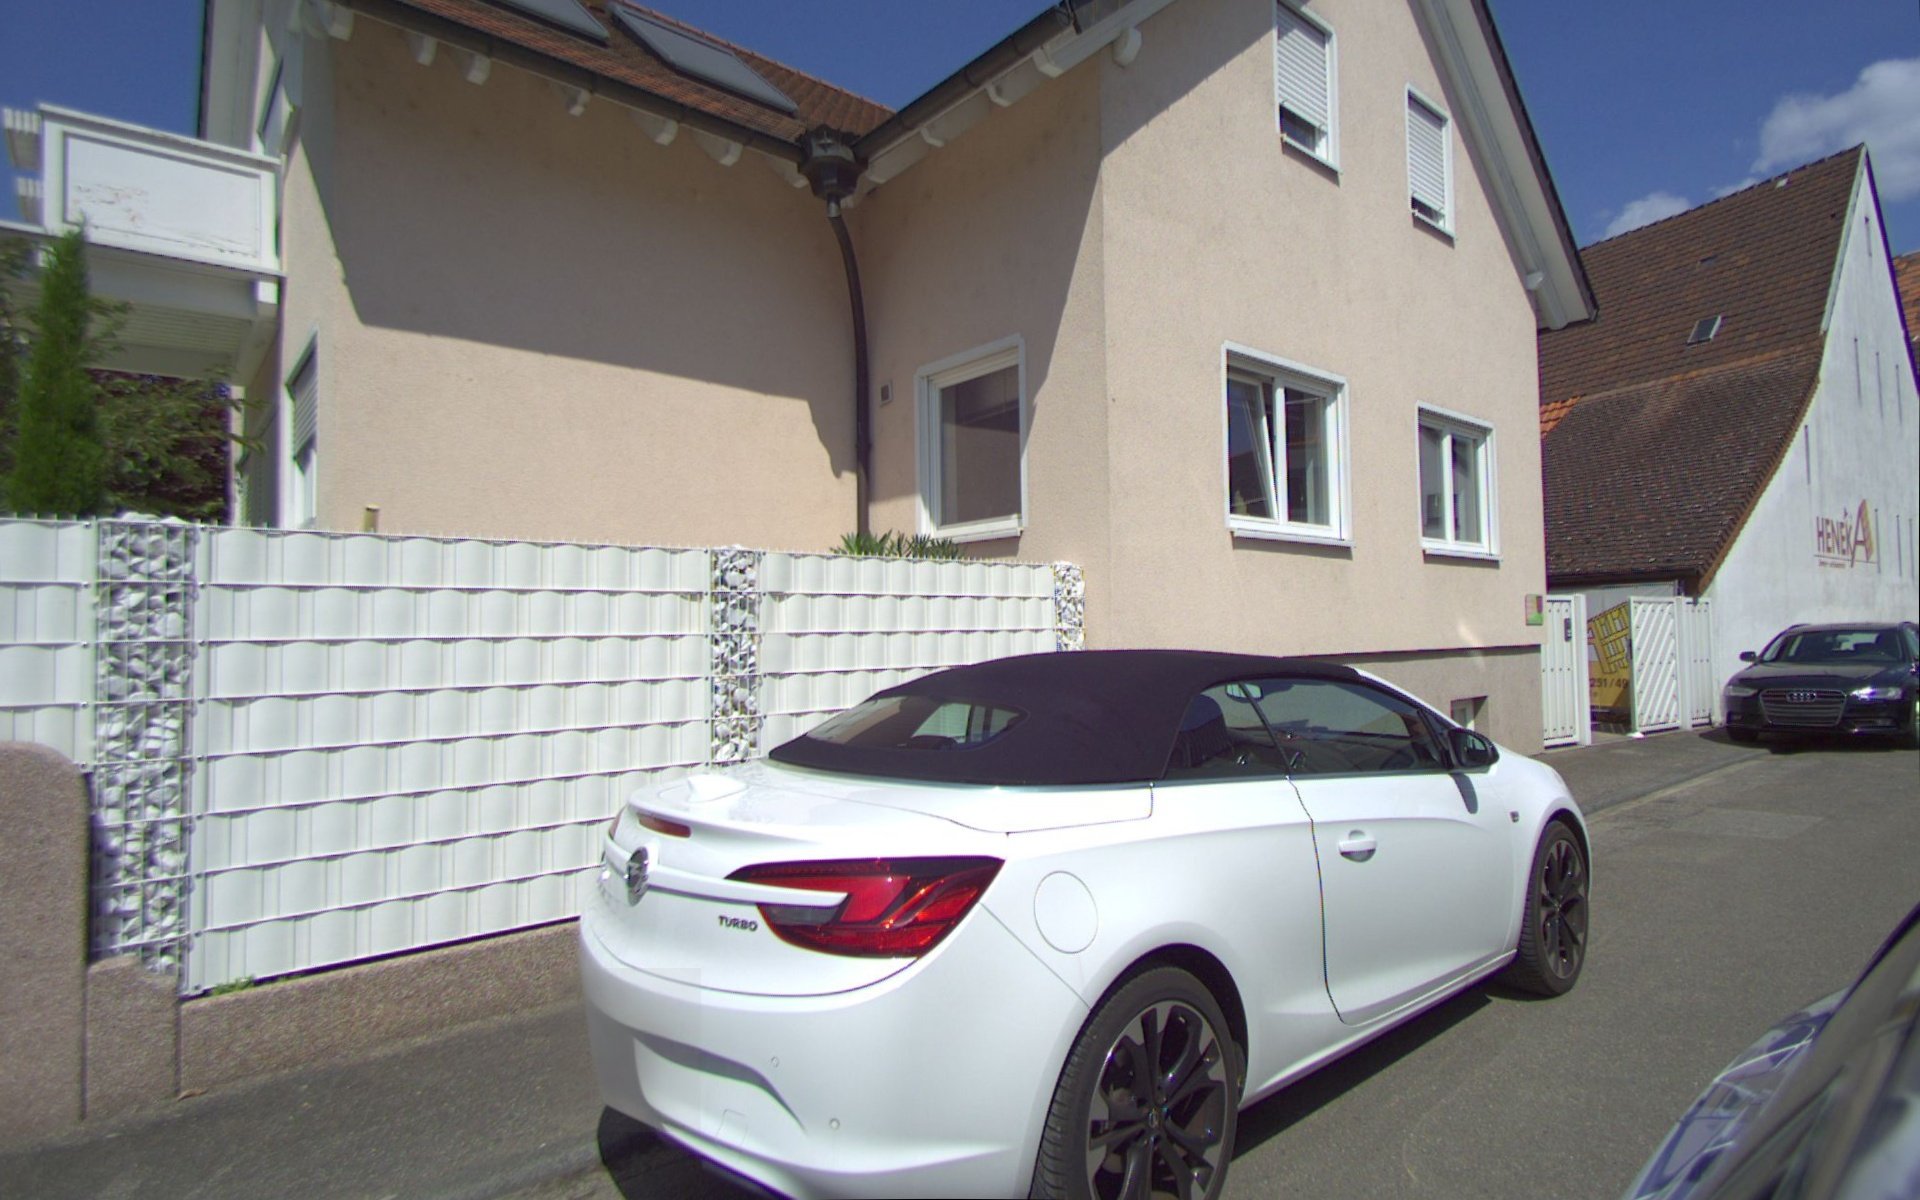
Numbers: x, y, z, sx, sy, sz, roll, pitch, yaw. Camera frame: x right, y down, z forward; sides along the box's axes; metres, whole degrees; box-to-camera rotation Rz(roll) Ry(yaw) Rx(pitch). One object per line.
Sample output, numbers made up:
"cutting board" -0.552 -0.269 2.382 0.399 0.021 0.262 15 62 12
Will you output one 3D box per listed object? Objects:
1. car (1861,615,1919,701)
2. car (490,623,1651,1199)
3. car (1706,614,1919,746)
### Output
"car" 17.659 0.948 17.744 4.332 1.383 1.900 0 -3 -37
"car" 0.884 0.868 4.001 4.654 1.447 1.898 0 -3 -41
"car" 11.453 0.894 12.930 4.651 1.383 1.899 0 -3 -38
